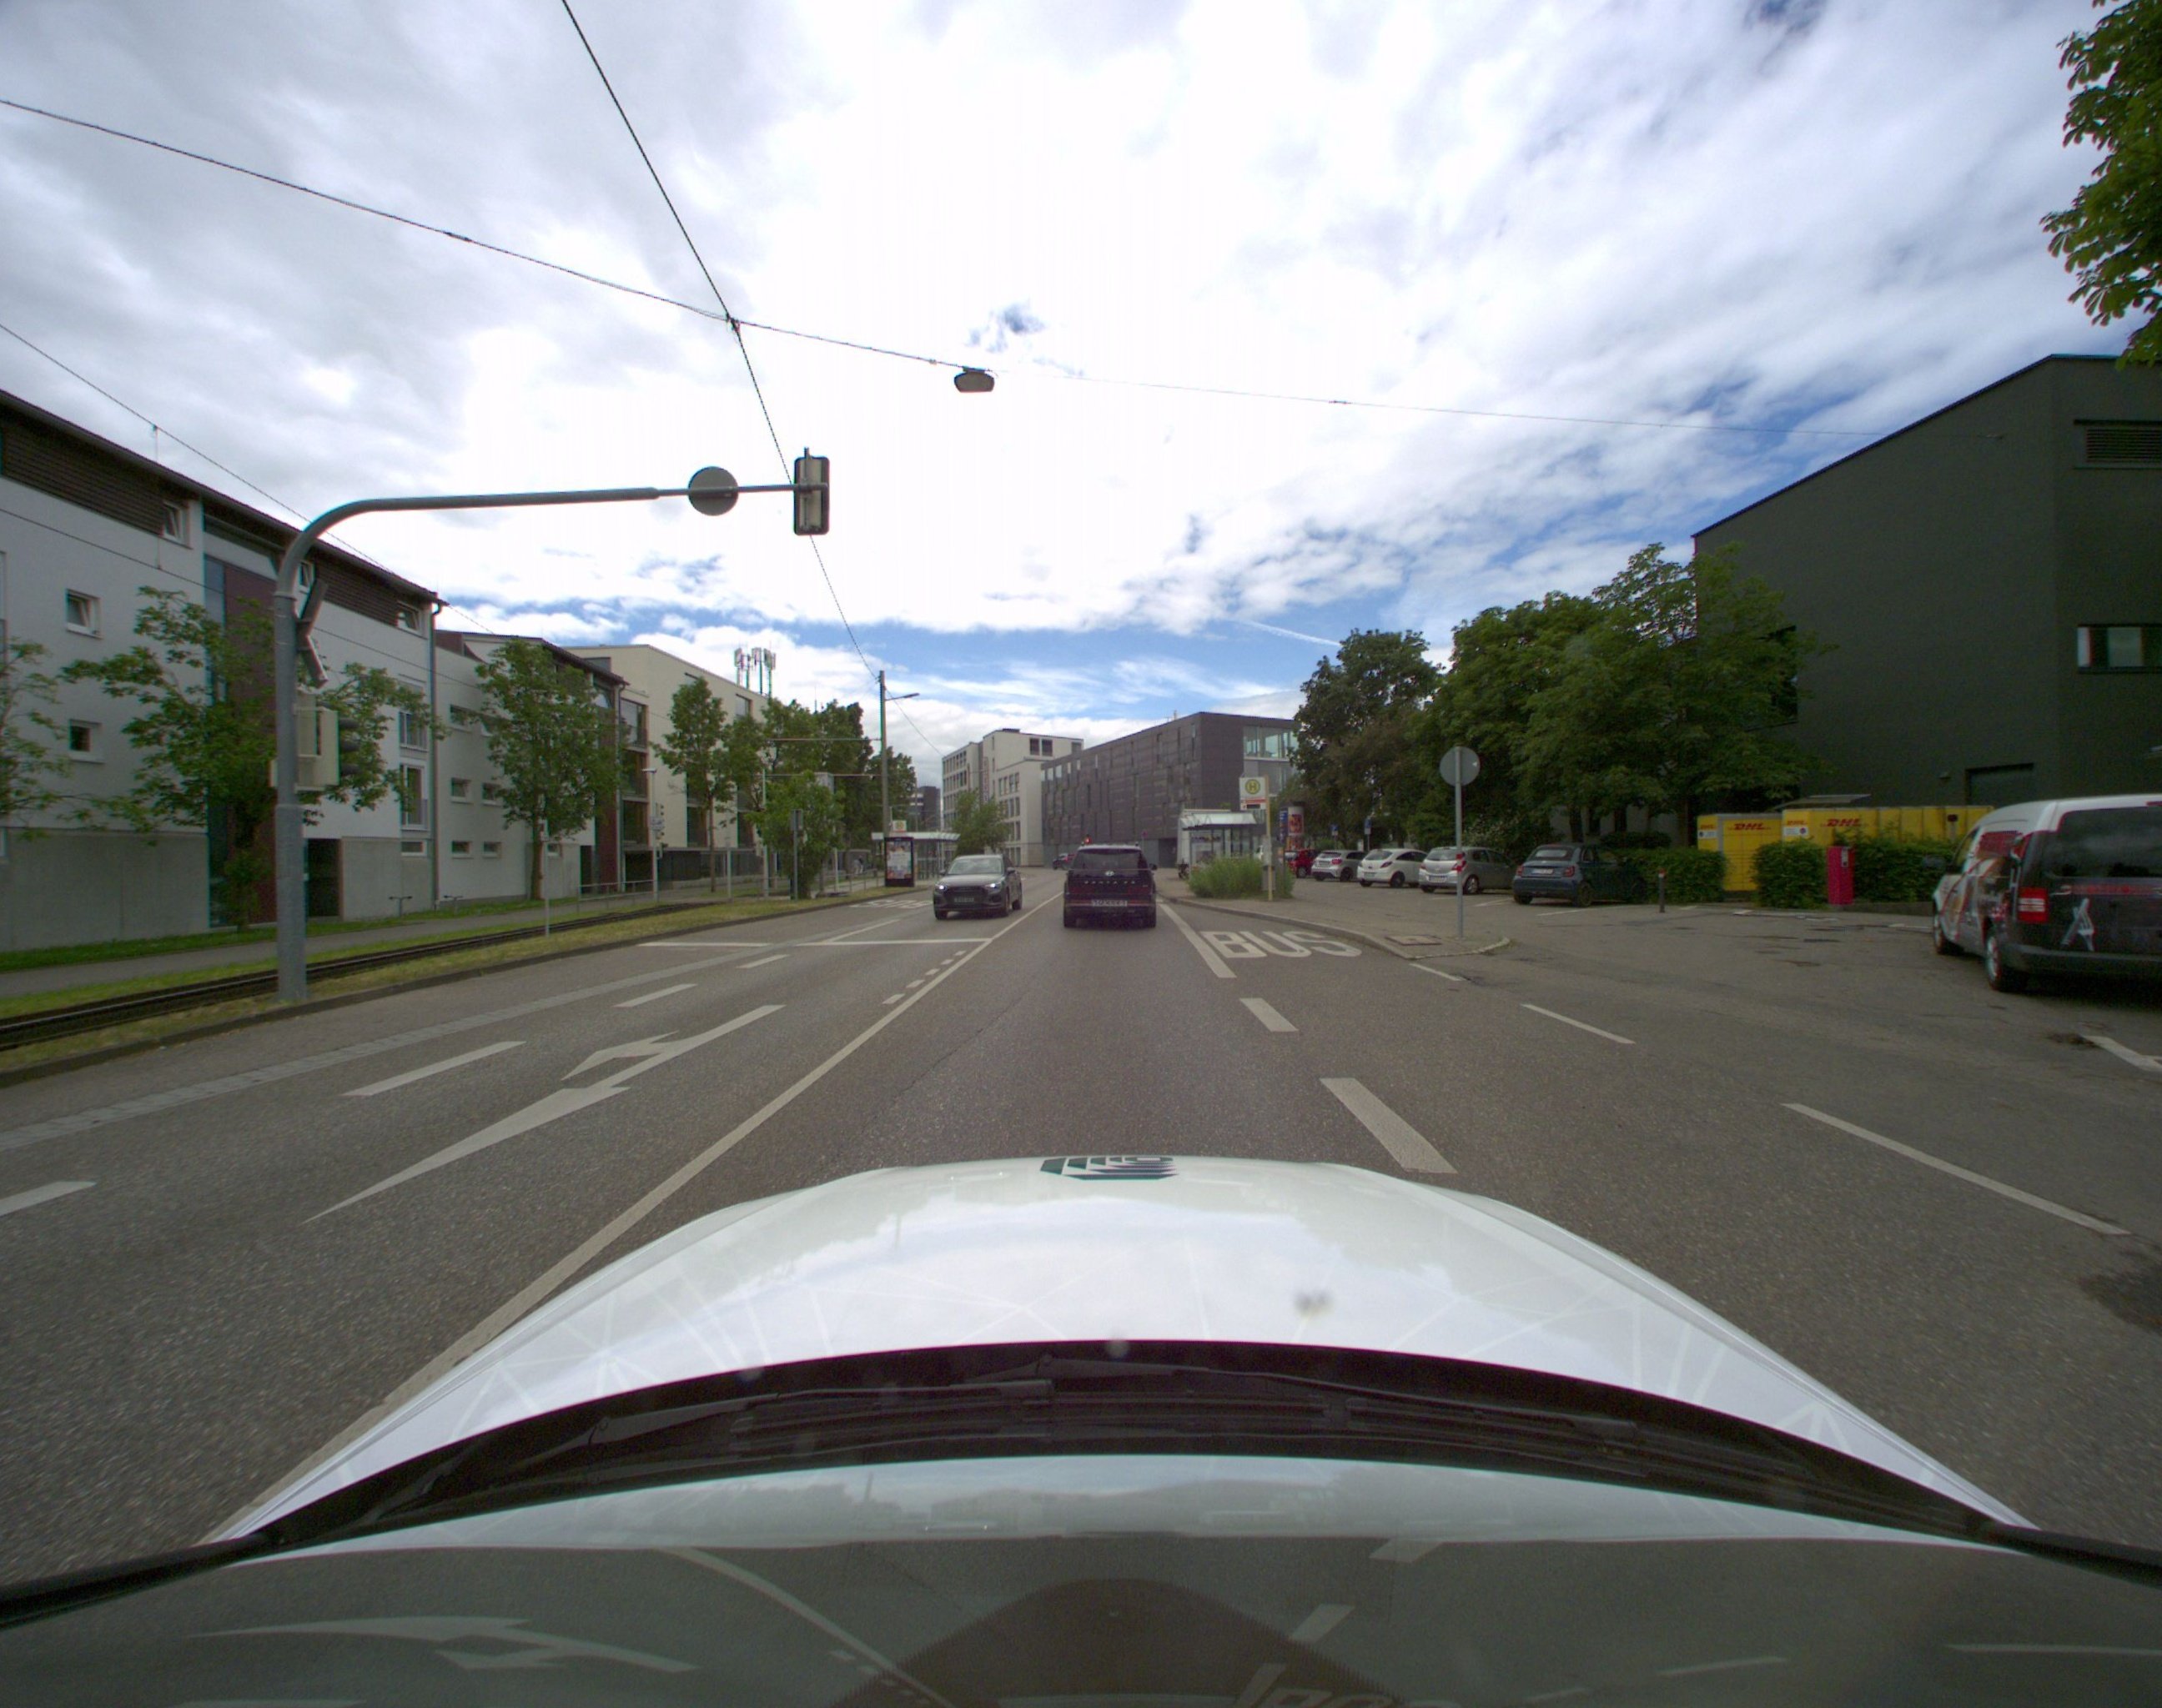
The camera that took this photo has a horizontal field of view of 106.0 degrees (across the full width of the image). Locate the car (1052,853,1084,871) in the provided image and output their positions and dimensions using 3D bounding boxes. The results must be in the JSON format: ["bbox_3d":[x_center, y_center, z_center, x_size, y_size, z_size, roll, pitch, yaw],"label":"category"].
[{"bbox_3d":[-1.378,0.870,82.795,1.855,1.677,4.343,-2,0,-21],"label":"car"}]

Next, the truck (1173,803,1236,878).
[{"bbox_3d":[6.373,-0.661,42.979,2.562,3.525,7.818,-2,0,4],"label":"truck"}]

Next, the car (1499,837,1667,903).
[{"bbox_3d":[12.554,0.349,20.338,4.012,1.477,1.862,-1,0,-30],"label":"car"}]

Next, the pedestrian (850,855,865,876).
[{"bbox_3d":[-17.998,0.923,65.716,0.916,1.719,0.907,-1,0,1],"label":"pedestrian"}]

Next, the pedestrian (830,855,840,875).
[{"bbox_3d":[-21.295,0.958,70.427,0.611,1.694,0.785,-1,-1,2],"label":"pedestrian"}]

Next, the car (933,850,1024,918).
[{"bbox_3d":[-2.619,0.734,21.685,1.733,1.559,4.185,-2,0,1],"label":"car"}]

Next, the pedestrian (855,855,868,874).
[{"bbox_3d":[-19.885,0.953,73.870,0.916,1.719,0.907,-1,0,1],"label":"pedestrian"}]

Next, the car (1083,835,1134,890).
[{"bbox_3d":[1.101,0.306,32.792,1.848,2.033,4.439,-2,0,2],"label":"car"}]

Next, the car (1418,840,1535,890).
[{"bbox_3d":[12.362,0.306,25.399,3.526,1.378,1.533,-2,2,-29],"label":"car"}]

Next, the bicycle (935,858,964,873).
[{"bbox_3d":[-10.115,0.858,62.479,2.090,1.106,0.632,0,0,3],"label":"bicycle"}]

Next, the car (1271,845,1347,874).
[{"bbox_3d":[11.648,0.288,41.626,3.510,1.455,1.666,0,-1,-26],"label":"car"}]

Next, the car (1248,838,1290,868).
[{"bbox_3d":[12.925,-0.049,56.262,1.986,1.838,4.520,-3,-1,2],"label":"car"}]

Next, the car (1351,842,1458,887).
[{"bbox_3d":[12.096,0.380,30.418,3.657,1.435,1.578,-3,-1,-25],"label":"car"}]

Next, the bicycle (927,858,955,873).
[{"bbox_3d":[-10.367,0.858,60.259,1.920,1.106,0.588,0,0,3],"label":"bicycle"}]

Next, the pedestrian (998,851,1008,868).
[{"bbox_3d":[-8.357,0.611,87.335,0.938,1.800,0.589,-2,0,-9],"label":"pedestrian"}]

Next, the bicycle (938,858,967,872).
[{"bbox_3d":[-9.964,0.868,63.239,2.089,1.106,0.632,0,0,3],"label":"bicycle"}]

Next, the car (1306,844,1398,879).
[{"bbox_3d":[12.120,0.365,36.419,3.813,1.474,1.782,1,-1,-28],"label":"car"}]

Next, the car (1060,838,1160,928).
[{"bbox_3d":[0.565,0.551,17.666,1.909,1.725,4.170,0,0,0],"label":"car"}]

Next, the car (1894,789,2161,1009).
[{"bbox_3d":[10.003,0.300,8.394,1.827,1.748,4.725,-2,1,40],"label":"car"}]
